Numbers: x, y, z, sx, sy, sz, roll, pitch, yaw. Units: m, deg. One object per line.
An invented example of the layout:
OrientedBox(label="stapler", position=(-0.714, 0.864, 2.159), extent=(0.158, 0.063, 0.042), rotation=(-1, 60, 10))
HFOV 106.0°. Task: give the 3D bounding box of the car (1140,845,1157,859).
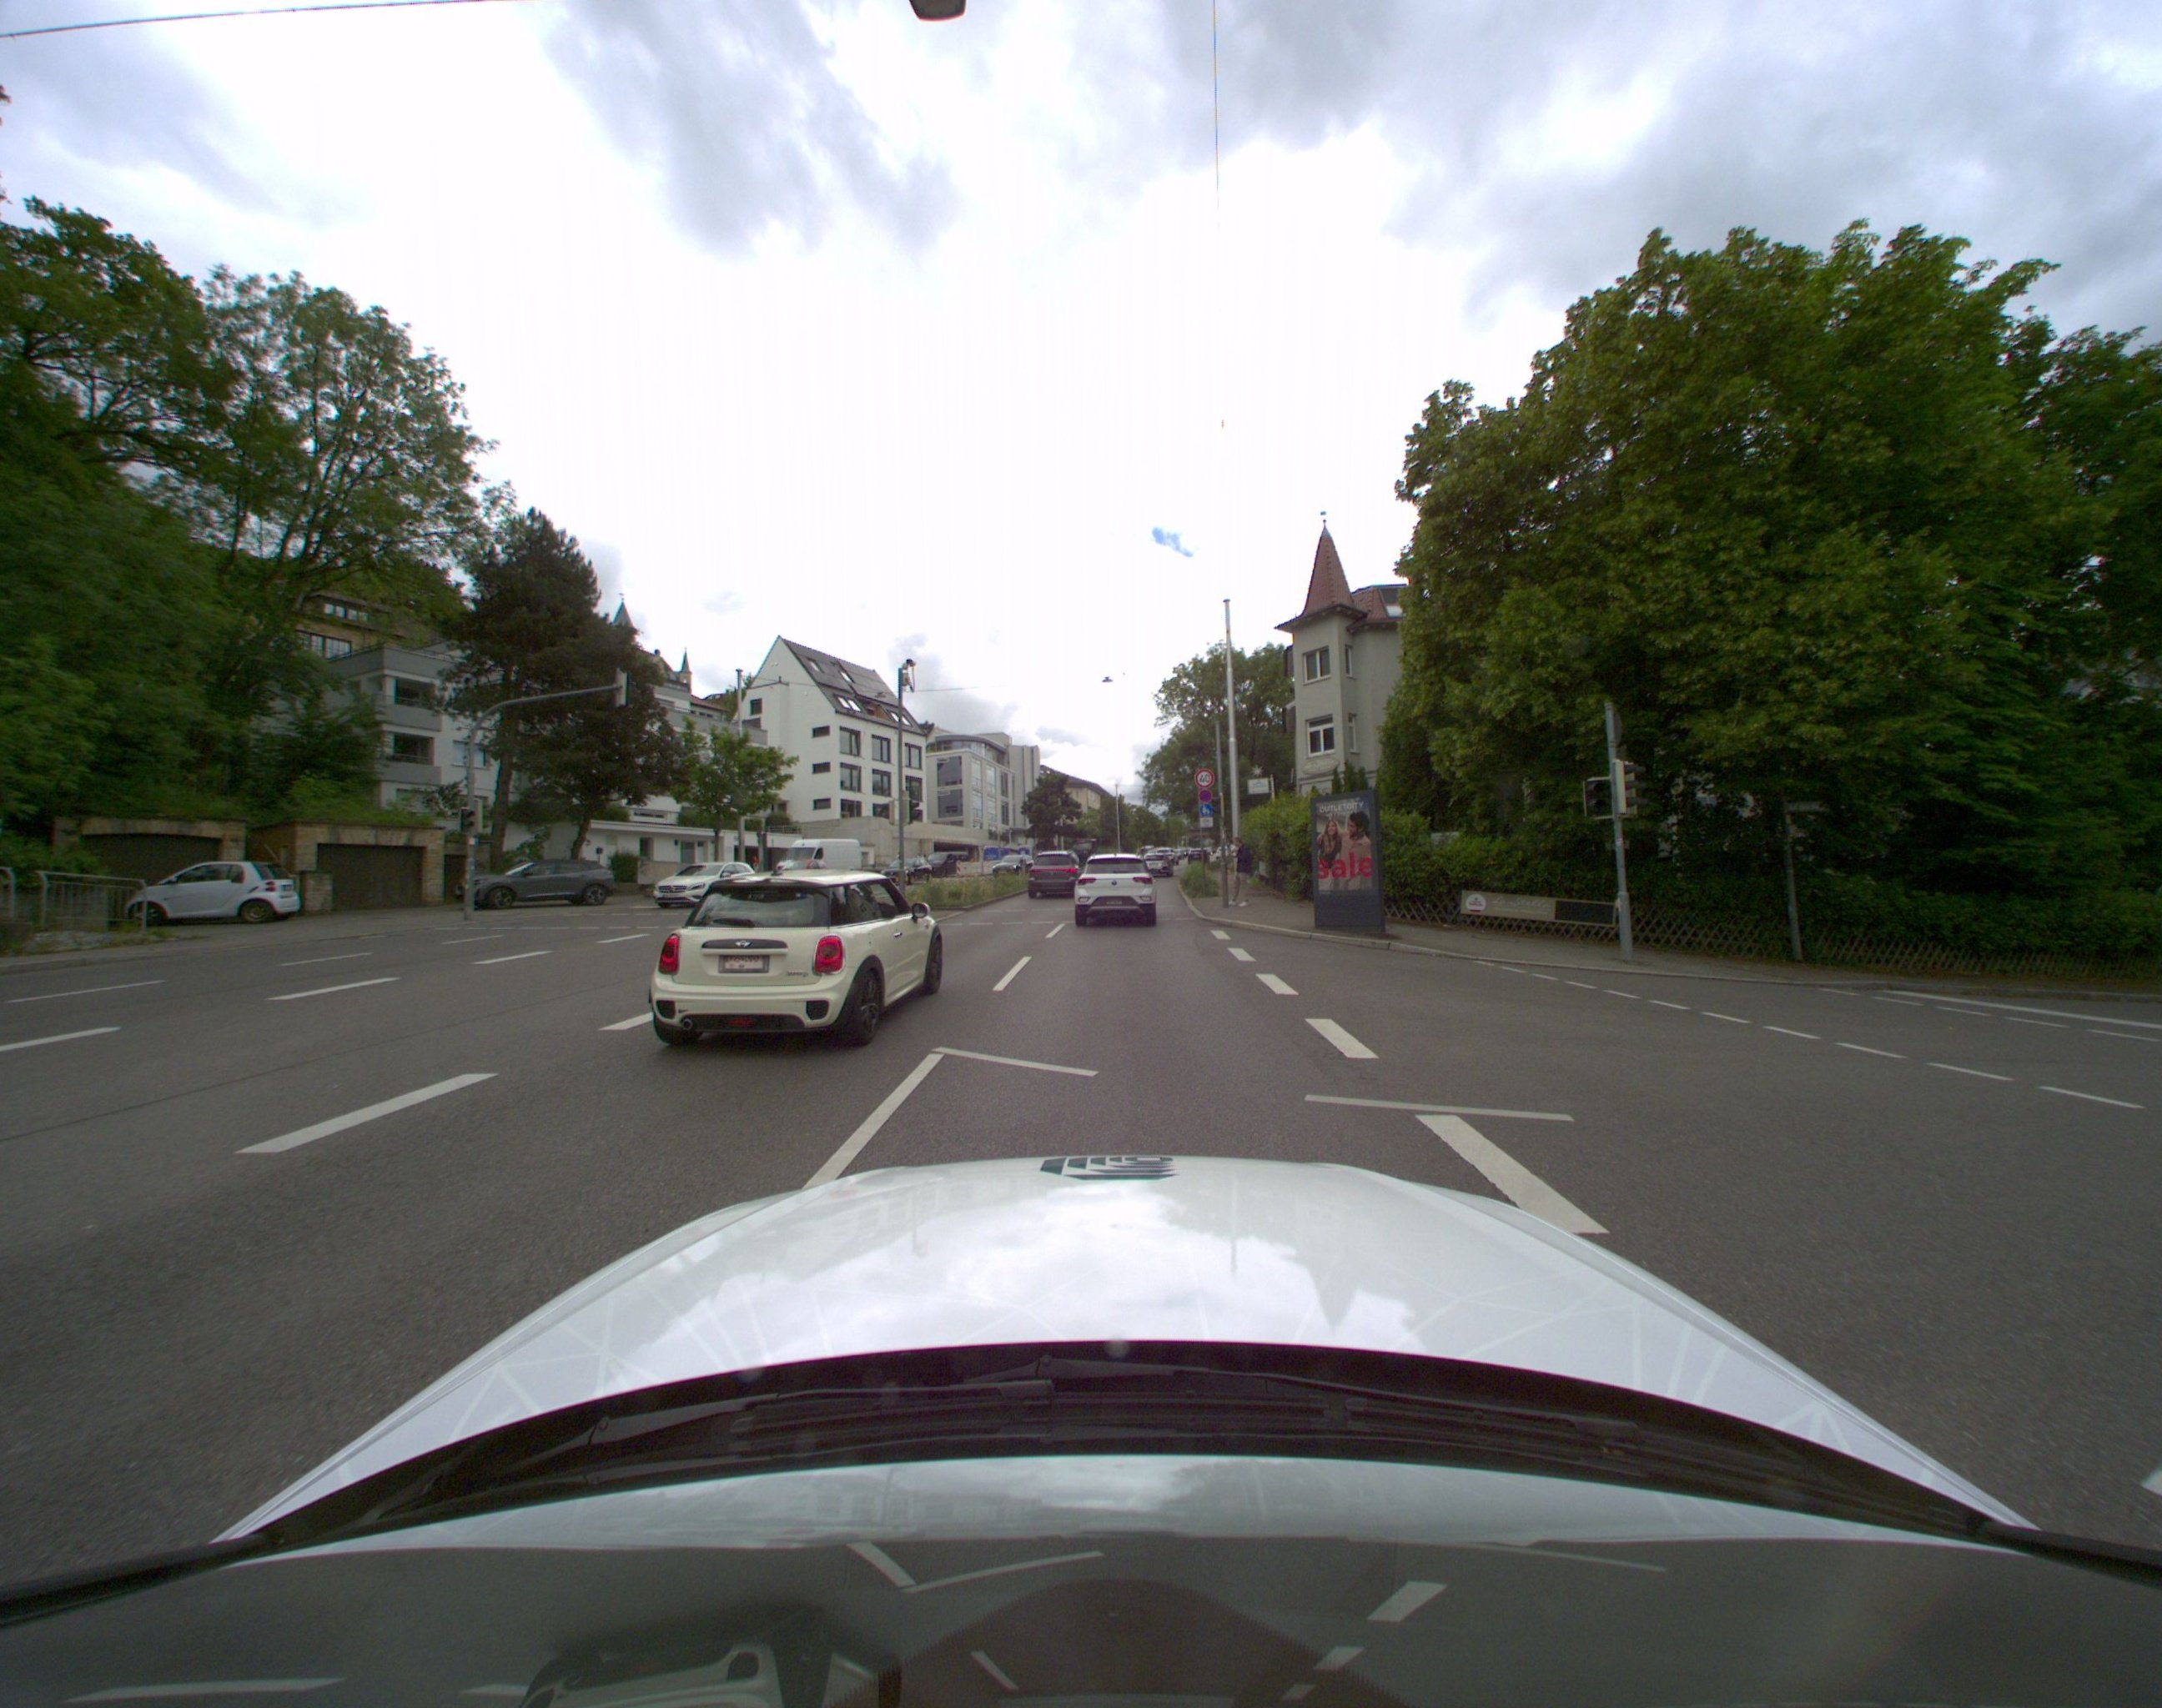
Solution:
OrientedBox(label="car", position=(12.354, -0.367, 147.954), extent=(2.053, 2.305, 5.487), rotation=(-2, 0, 15))

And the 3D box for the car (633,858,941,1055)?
OrientedBox(label="car", position=(-2.500, 0.772, 7.871), extent=(1.622, 1.393, 3.565), rotation=(-2, 0, 0))

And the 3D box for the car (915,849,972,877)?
OrientedBox(label="car", position=(-10.293, 0.663, 61.369), extent=(1.967, 1.967, 5.242), rotation=(-2, 0, 17))

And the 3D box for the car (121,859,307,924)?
OrientedBox(label="car", position=(-21.344, 0.920, 20.197), extent=(2.716, 1.520, 1.550), rotation=(2, -2, -27))

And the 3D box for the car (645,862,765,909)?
OrientedBox(label="car", position=(-12.249, 0.975, 26.858), extent=(1.643, 1.393, 4.151), rotation=(1, 0, 6))

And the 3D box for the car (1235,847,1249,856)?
OrientedBox(label="car", position=(28.335, -0.417, 143.291), extent=(1.977, 1.500, 4.060), rotation=(-2, 0, 4))

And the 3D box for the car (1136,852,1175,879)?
OrientedBox(label="car", position=(4.540, 0.710, 49.193), extent=(1.861, 1.501, 4.568), rotation=(1, 0, 11))

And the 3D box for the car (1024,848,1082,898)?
OrientedBox(label="car", position=(-0.966, 0.655, 30.103), extent=(1.806, 1.652, 4.637), rotation=(-2, 0, 1))

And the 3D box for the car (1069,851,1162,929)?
OrientedBox(label="car", position=(0.698, 0.743, 18.735), extent=(1.807, 1.539, 3.686), rotation=(-2, 0, -2))

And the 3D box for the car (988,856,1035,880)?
OrientedBox(label="car", position=(-4.537, 0.898, 53.805), extent=(1.679, 1.501, 4.573), rotation=(-1, 0, 15))

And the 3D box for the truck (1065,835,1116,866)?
OrientedBox(label="truck", position=(1.074, -0.398, 83.674), extent=(2.939, 2.971, 9.015), rotation=(-1, 0, 15))

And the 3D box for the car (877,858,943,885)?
OrientedBox(label="car", position=(-9.323, 0.912, 44.641), extent=(1.611, 1.393, 3.877), rotation=(1, 0, 22))

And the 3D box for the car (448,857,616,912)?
OrientedBox(label="car", position=(-17.376, 0.912, 25.934), extent=(1.578, 1.540, 4.158), rotation=(-2, 0, 42))

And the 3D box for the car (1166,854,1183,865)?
OrientedBox(label="car", position=(12.923, 0.782, 112.052), extent=(1.830, 1.393, 4.298), rotation=(-2, 0, 12))

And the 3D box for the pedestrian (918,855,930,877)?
OrientedBox(label="pedestrian", position=(-11.993, 0.899, 62.100), extent=(0.679, 1.640, 0.665), rotation=(1, 0, -36))

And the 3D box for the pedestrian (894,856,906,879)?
OrientedBox(label="pedestrian", position=(-13.301, 0.989, 59.896), extent=(0.620, 1.640, 0.675), rotation=(0, 0, 19))

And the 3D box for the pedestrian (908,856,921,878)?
OrientedBox(label="pedestrian", position=(-12.256, 0.946, 59.896), extent=(0.679, 1.640, 0.665), rotation=(1, 0, -36))

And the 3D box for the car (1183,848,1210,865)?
OrientedBox(label="car", position=(10.903, 0.231, 76.692), extent=(1.859, 1.501, 4.574), rotation=(1, 0, 16))

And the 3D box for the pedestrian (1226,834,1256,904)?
OrientedBox(label="pedestrian", position=(4.252, 0.405, 21.694), extent=(0.690, 1.834, 0.620), rotation=(0, -1, 4))

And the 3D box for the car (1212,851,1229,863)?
OrientedBox(label="car", position=(17.883, 0.362, 104.487), extent=(1.845, 1.500, 4.069), rotation=(-2, 0, 12))

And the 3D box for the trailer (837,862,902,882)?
OrientedBox(label="trailer", position=(-13.783, 1.147, 53.382), extent=(2.231, 1.112, 4.638), rotation=(-2, 0, 12))

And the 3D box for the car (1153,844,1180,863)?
OrientedBox(label="car", position=(8.107, -0.077, 77.194), extent=(1.844, 1.652, 4.654), rotation=(-2, 0, 14))

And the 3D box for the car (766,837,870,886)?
OrientedBox(label="car", position=(-15.149, 0.392, 47.503), extent=(2.216, 2.568, 7.447), rotation=(-2, 0, 13))

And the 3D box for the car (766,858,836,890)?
OrientedBox(label="car", position=(-13.888, 0.972, 40.668), extent=(1.612, 1.465, 3.936), rotation=(-2, 0, 8))

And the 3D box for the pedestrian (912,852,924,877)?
OrientedBox(label="pedestrian", position=(-12.201, 0.796, 61.014), extent=(0.679, 1.840, 0.665), rotation=(1, 0, -36))
